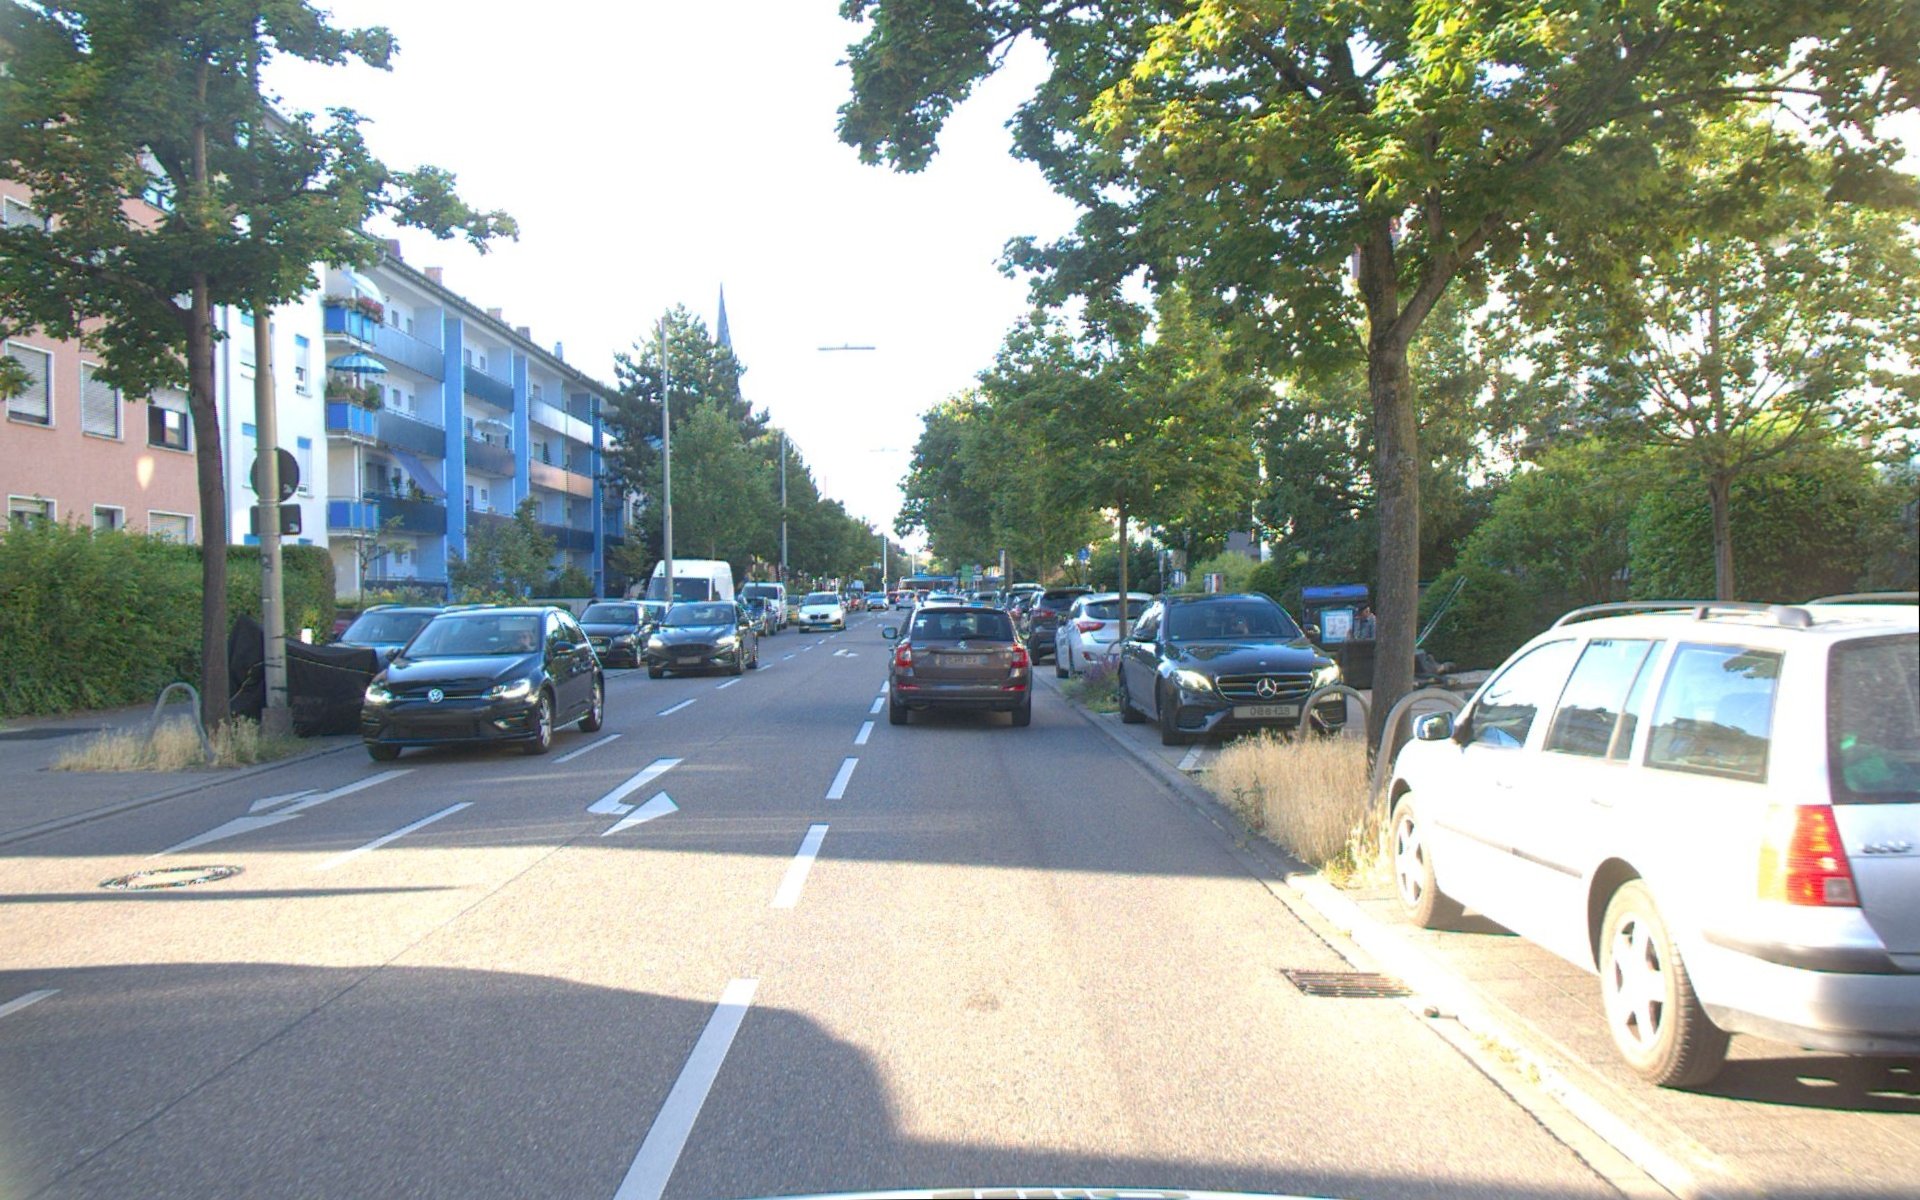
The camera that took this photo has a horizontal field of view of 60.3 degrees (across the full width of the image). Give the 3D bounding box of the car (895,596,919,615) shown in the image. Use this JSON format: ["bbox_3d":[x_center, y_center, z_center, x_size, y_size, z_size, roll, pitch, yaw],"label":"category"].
[{"bbox_3d":[-4.297,0.410,133.924,1.746,1.506,3.968,1,0,-4],"label":"car"}]

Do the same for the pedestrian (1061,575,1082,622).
[{"bbox_3d":[4.554,-0.064,67.722,0.733,1.893,1.067,-2,0,-2],"label":"pedestrian"}]

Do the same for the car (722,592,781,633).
[{"bbox_3d":[-7.990,0.447,63.728,1.657,1.509,4.144,-1,0,1],"label":"car"}]

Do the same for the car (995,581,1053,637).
[{"bbox_3d":[2.029,0.257,53.421,1.718,1.691,4.252,-2,0,1],"label":"car"}]

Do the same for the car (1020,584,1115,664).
[{"bbox_3d":[2.293,0.485,36.241,1.683,1.629,4.095,-1,0,-2],"label":"car"}]

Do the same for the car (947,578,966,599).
[{"bbox_3d":[-0.325,-1.051,149.863,1.718,1.837,4.000,1,0,-1],"label":"car"}]

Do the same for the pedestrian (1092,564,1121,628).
[{"bbox_3d":[3.998,-0.115,45.203,0.771,1.730,0.808,0,0,3],"label":"pedestrian"}]

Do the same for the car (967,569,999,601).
[{"bbox_3d":[1.394,-0.911,101.817,1.877,1.893,5.633,-1,0,1],"label":"car"}]

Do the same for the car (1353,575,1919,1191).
[{"bbox_3d":[2.921,0.692,6.410,1.603,1.516,4.414,-2,0,-1],"label":"car"}]

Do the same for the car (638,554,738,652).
[{"bbox_3d":[-7.933,0.057,48.954,1.953,2.662,7.103,0,0,-2],"label":"car"}]

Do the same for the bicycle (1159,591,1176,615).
[{"bbox_3d":[8.675,0.107,69.210,0.465,0.961,1.680,-1,0,-2],"label":"bicycle"}]

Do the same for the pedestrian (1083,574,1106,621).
[{"bbox_3d":[5.482,-0.109,67.344,0.781,1.893,0.951,-1,0,10],"label":"pedestrian"}]

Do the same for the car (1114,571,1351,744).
[{"bbox_3d":[2.864,0.537,18.435,1.836,1.608,4.821,-2,0,0],"label":"car"}]

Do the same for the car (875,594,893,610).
[{"bbox_3d":[-9.118,0.246,197.846,1.955,1.780,3.995,-1,0,-6],"label":"car"}]

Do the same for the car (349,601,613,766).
[{"bbox_3d":[-4.918,0.784,17.545,1.666,1.428,4.027,-3,0,-1],"label":"car"}]

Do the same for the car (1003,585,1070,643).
[{"bbox_3d":[2.106,0.362,46.399,1.580,1.491,3.958,-2,0,-1],"label":"car"}]

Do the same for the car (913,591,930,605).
[{"bbox_3d":[-4.346,-0.231,185.413,1.613,1.627,3.645,-1,0,-6],"label":"car"}]

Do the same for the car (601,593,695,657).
[{"bbox_3d":[-7.990,0.600,42.652,1.672,1.518,4.058,2,0,-1],"label":"car"}]

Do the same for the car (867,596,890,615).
[{"bbox_3d":[-6.830,0.447,139.149,1.745,1.520,3.970,2,0,-1],"label":"car"}]

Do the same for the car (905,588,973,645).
[{"bbox_3d":[-0.648,0.490,49.026,1.854,1.533,3.788,3,-1,-2],"label":"car"}]

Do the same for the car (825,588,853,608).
[{"bbox_3d":[-9.370,-0.139,128.040,1.744,1.506,3.971,1,0,1],"label":"car"}]

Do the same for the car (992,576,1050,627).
[{"bbox_3d":[2.282,0.036,62.611,1.764,1.840,4.421,1,0,-3],"label":"car"}]

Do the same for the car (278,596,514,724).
[{"bbox_3d":[-7.582,0.735,22.712,1.742,1.531,4.587,-1,0,-1],"label":"car"}]

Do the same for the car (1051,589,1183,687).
[{"bbox_3d":[2.619,0.589,28.516,1.684,1.520,4.392,-1,0,-2],"label":"car"}]

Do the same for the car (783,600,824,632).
[{"bbox_3d":[-7.752,0.797,82.304,1.585,1.506,3.872,1,0,1],"label":"car"}]

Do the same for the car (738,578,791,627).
[{"bbox_3d":[-8.479,0.074,72.097,1.831,2.066,5.299,0,0,-2],"label":"car"}]

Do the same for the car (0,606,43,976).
[{"bbox_3d":[-4.774,0.847,4.758,1.795,1.496,4.450,-4,0,-1],"label":"car"}]

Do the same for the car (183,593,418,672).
[{"bbox_3d":[-13.168,0.635,33.196,3.906,1.437,1.915,1,0,-1],"label":"car"}]

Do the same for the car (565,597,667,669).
[{"bbox_3d":[-7.784,0.702,37.692,1.579,1.498,3.812,1,0,-2],"label":"car"}]

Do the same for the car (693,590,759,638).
[{"bbox_3d":[-8.207,0.455,58.338,1.638,1.570,4.473,-1,0,0],"label":"car"}]

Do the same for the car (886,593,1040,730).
[{"bbox_3d":[0.054,0.688,20.690,1.718,1.518,4.000,1,0,1],"label":"car"}]

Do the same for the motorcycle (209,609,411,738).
[{"bbox_3d":[-7.474,0.824,19.037,2.003,1.413,0.979,1,-1,-33],"label":"motorcycle"}]

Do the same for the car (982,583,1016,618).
[{"bbox_3d":[1.996,0.015,85.386,1.718,1.716,4.252,1,0,1],"label":"car"}]

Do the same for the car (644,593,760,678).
[{"bbox_3d":[-4.997,0.646,32.560,1.665,1.496,4.293,-2,0,-1],"label":"car"}]

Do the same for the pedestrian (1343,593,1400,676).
[{"bbox_3d":[6.296,0.517,25.317,0.659,1.256,0.790,0,0,-1],"label":"pedestrian"}]

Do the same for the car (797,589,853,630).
[{"bbox_3d":[-5.443,0.339,66.982,1.841,1.570,4.267,-1,0,0],"label":"car"}]

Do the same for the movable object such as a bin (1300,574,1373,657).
[{"bbox_3d":[7.337,0.286,32.288,1.240,1.518,1.140,-3,0,9],"label":"movable object such as a bin"}]
